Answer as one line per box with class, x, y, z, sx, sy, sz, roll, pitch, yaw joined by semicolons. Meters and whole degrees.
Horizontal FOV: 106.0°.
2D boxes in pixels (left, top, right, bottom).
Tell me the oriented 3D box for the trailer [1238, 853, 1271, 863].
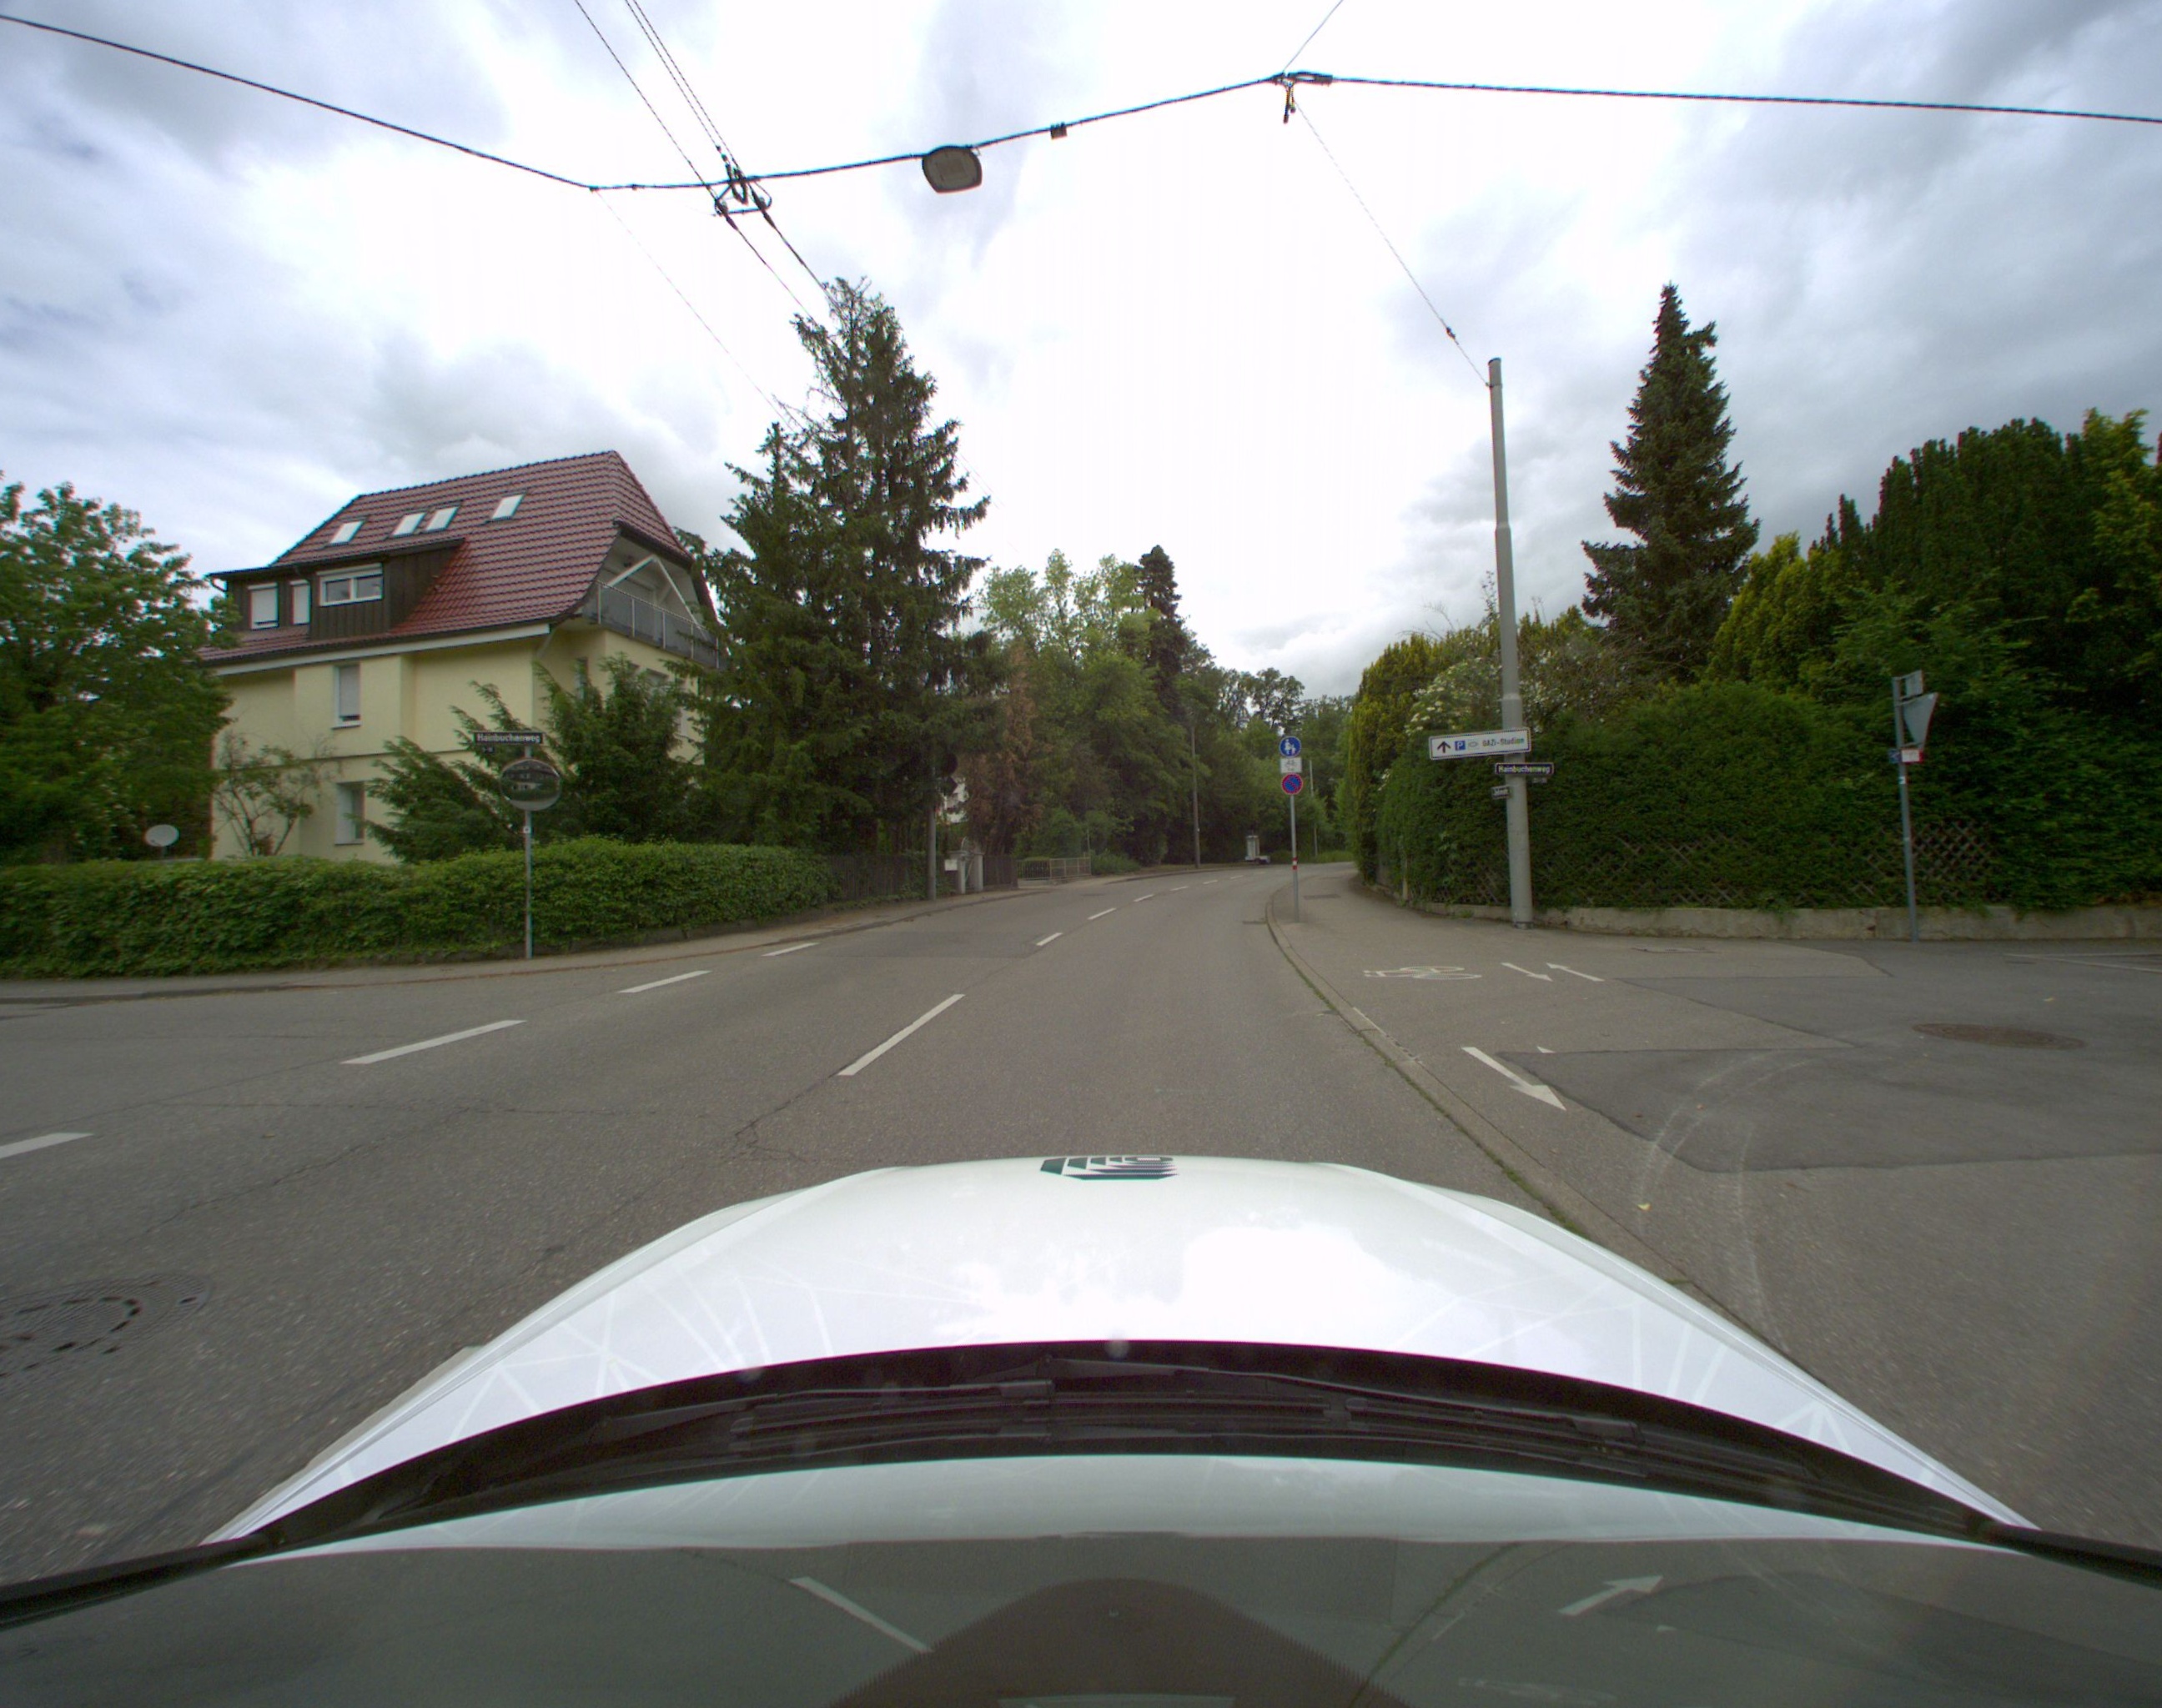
trailer;16.314;0.401;76.530;2.931;0.828;1.482;-2;-1;18
